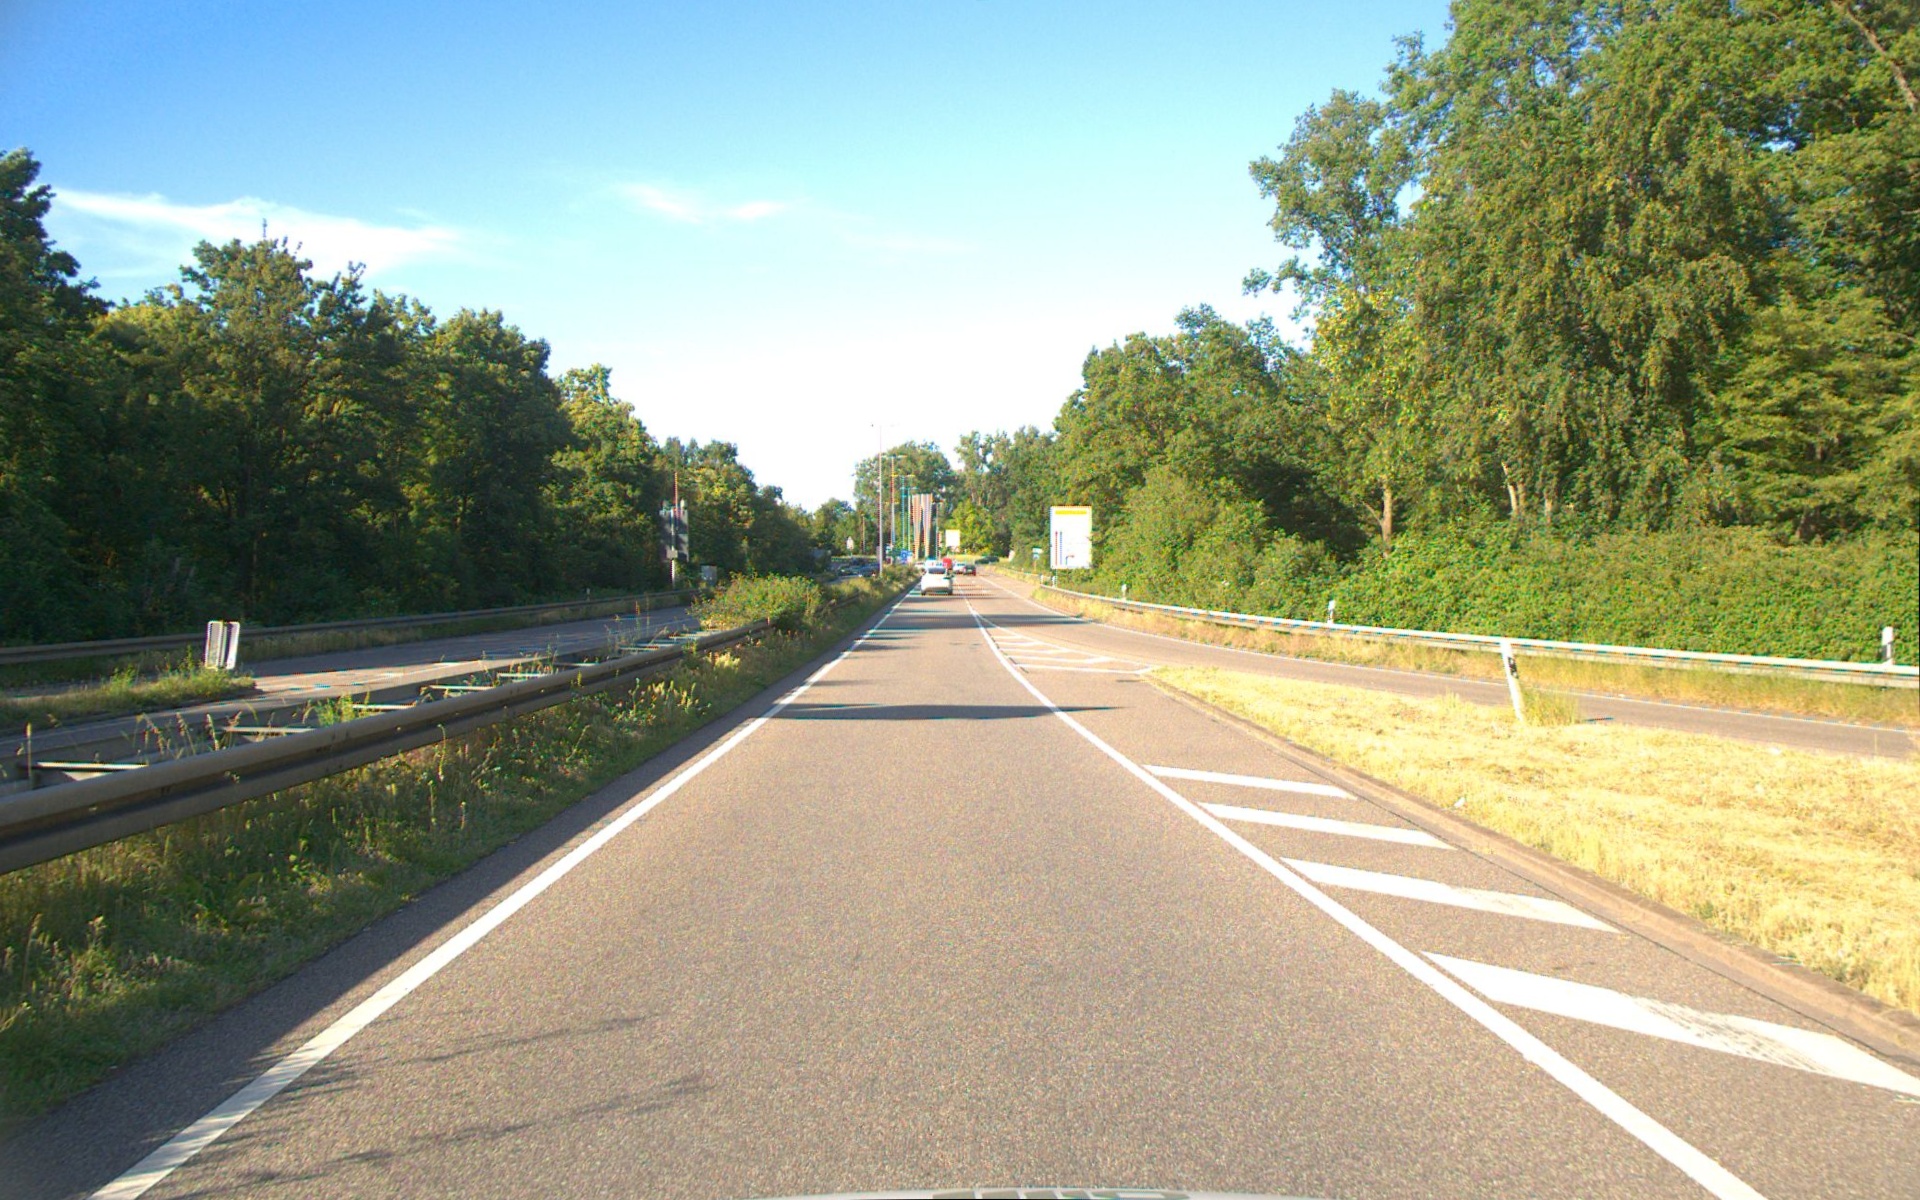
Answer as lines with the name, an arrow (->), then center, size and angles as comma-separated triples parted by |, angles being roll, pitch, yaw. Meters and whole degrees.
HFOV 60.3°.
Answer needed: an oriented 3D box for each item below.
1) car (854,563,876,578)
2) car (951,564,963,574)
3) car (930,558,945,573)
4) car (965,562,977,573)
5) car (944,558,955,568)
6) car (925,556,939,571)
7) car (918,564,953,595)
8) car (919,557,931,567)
car -> -9.377, -2.915, 163.184 | 1.744, 1.427, 4.554 | -1, 1, 1
car -> -0.377, -4.226, 227.909 | 1.591, 1.303, 2.987 | 2, 0, -1
car -> -3.081, -4.695, 222.785 | 1.953, 1.912, 4.249 | -1, 2, -1
car -> 1.384, -4.079, 210.688 | 1.360, 1.303, 2.987 | 2, 0, -1
car -> -1.541, -5.646, 250.623 | 1.591, 1.414, 2.987 | 2, 0, -1
car -> -4.045, -5.245, 238.084 | 1.953, 2.049, 3.999 | 1, 0, -1
car -> -1.482, -1.241, 99.268 | 1.953, 1.668, 4.127 | -1, 2, -2
car -> -5.268, -5.756, 251.210 | 1.790, 1.539, 3.631 | 1, 0, -1
